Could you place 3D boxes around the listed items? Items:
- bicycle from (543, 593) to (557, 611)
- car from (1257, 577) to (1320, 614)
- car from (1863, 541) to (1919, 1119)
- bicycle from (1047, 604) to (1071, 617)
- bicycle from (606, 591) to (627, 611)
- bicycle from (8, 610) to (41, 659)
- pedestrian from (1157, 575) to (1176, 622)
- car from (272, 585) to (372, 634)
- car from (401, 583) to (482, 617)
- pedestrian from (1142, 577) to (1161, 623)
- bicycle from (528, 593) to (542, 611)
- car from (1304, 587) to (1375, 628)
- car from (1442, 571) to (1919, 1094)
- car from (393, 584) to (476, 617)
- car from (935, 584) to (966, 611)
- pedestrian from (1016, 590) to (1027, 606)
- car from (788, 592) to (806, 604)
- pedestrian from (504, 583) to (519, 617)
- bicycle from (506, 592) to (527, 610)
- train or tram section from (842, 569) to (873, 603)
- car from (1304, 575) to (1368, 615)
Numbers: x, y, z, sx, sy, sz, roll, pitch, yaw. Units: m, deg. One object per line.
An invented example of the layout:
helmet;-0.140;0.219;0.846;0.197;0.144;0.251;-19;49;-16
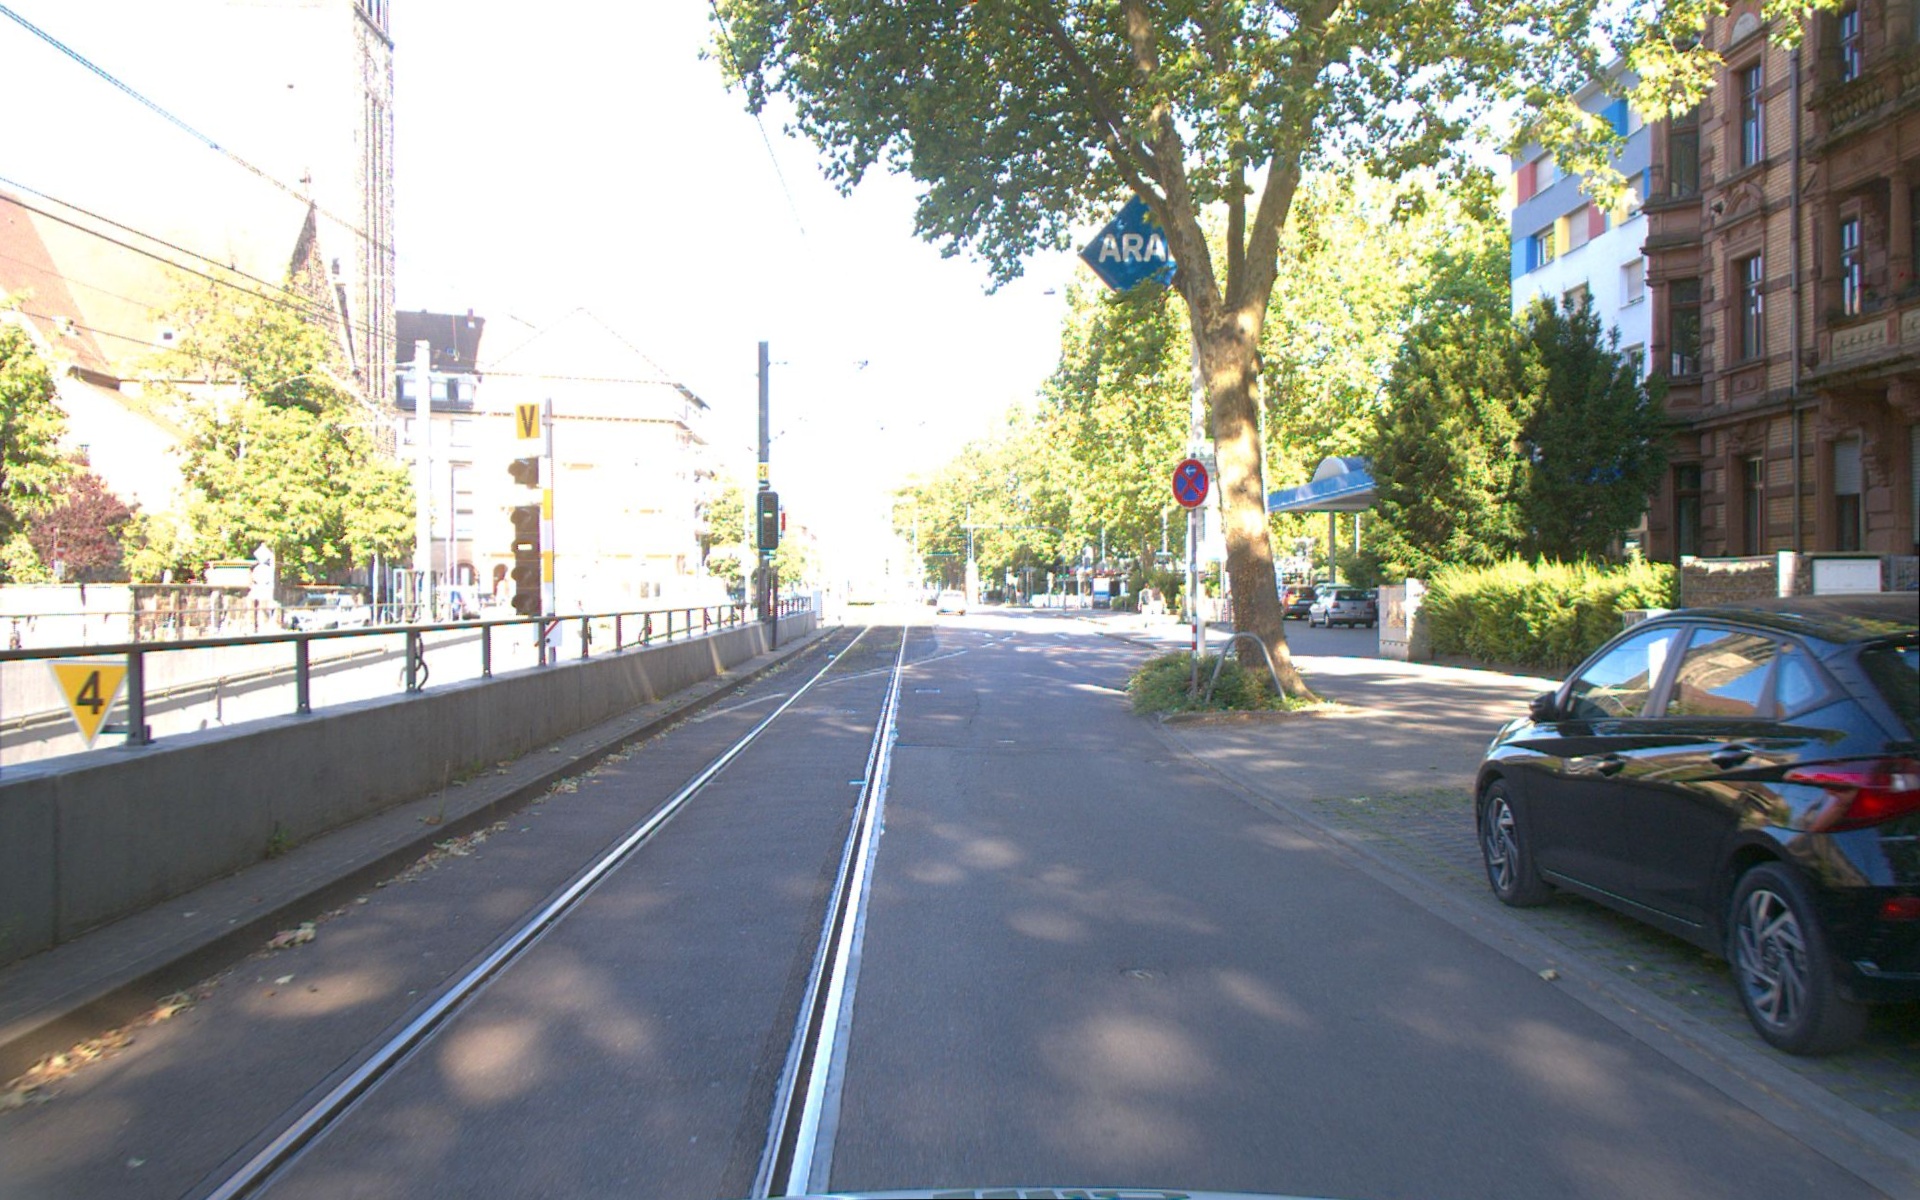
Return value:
bicycle;-31.723;0.140;127.905;0.806;1.305;2.559;2;0;-10
car;15.600;-0.226;78.705;1.781;1.630;4.659;-1;1;-4
car;3.533;0.634;2.665;1.584;1.615;4.415;-1;0;-2
bicycle;7.917;0.834;132.180;1.178;0.951;2.565;2;0;-13
bicycle;-21.597;0.058;103.986;0.618;1.164;2.281;-2;1;5
bicycle;-21.503;0.775;38.044;0.479;1.040;1.878;2;0;-25
pedestrian;8.288;-0.060;66.299;0.590;1.807;0.690;-4;0;2
car;-22.106;0.307;57.492;1.680;1.582;4.510;2;0;0
car;-29.336;-0.011;93.666;3.905;1.787;1.895;2;0;1
pedestrian;7.692;0.007;66.418;0.590;1.807;0.879;-4;0;2
bicycle;-32.615;0.115;126.941;0.809;1.305;2.550;2;0;-20
car;13.959;0.265;61.028;1.536;1.455;4.097;-1;0;-2
car;3.444;0.659;6.921;1.520;1.525;4.048;-1;0;-2
car;-28.832;0.004;90.786;3.905;1.657;1.895;2;0;1
car;-0.599;-0.165;100.289;1.710;1.487;3.643;2;1;-3
pedestrian;5.533;-0.223;149.663;0.647;1.412;0.830;2;0;30
car;-21.492;-0.228;217.763;1.953;1.474;4.839;-1;1;-1
pedestrian;-25.713;-0.014;94.791;0.592;1.920;0.757;2;0;1
bicycle;-33.911;0.070;126.567;0.813;1.305;2.537;2;0;-32
train or tram section;-11.360;-1.557;183.778;2.892;3.469;10.788;2;0;-1
car;17.709;-0.249;78.027;1.822;1.765;4.797;0;1;-2
